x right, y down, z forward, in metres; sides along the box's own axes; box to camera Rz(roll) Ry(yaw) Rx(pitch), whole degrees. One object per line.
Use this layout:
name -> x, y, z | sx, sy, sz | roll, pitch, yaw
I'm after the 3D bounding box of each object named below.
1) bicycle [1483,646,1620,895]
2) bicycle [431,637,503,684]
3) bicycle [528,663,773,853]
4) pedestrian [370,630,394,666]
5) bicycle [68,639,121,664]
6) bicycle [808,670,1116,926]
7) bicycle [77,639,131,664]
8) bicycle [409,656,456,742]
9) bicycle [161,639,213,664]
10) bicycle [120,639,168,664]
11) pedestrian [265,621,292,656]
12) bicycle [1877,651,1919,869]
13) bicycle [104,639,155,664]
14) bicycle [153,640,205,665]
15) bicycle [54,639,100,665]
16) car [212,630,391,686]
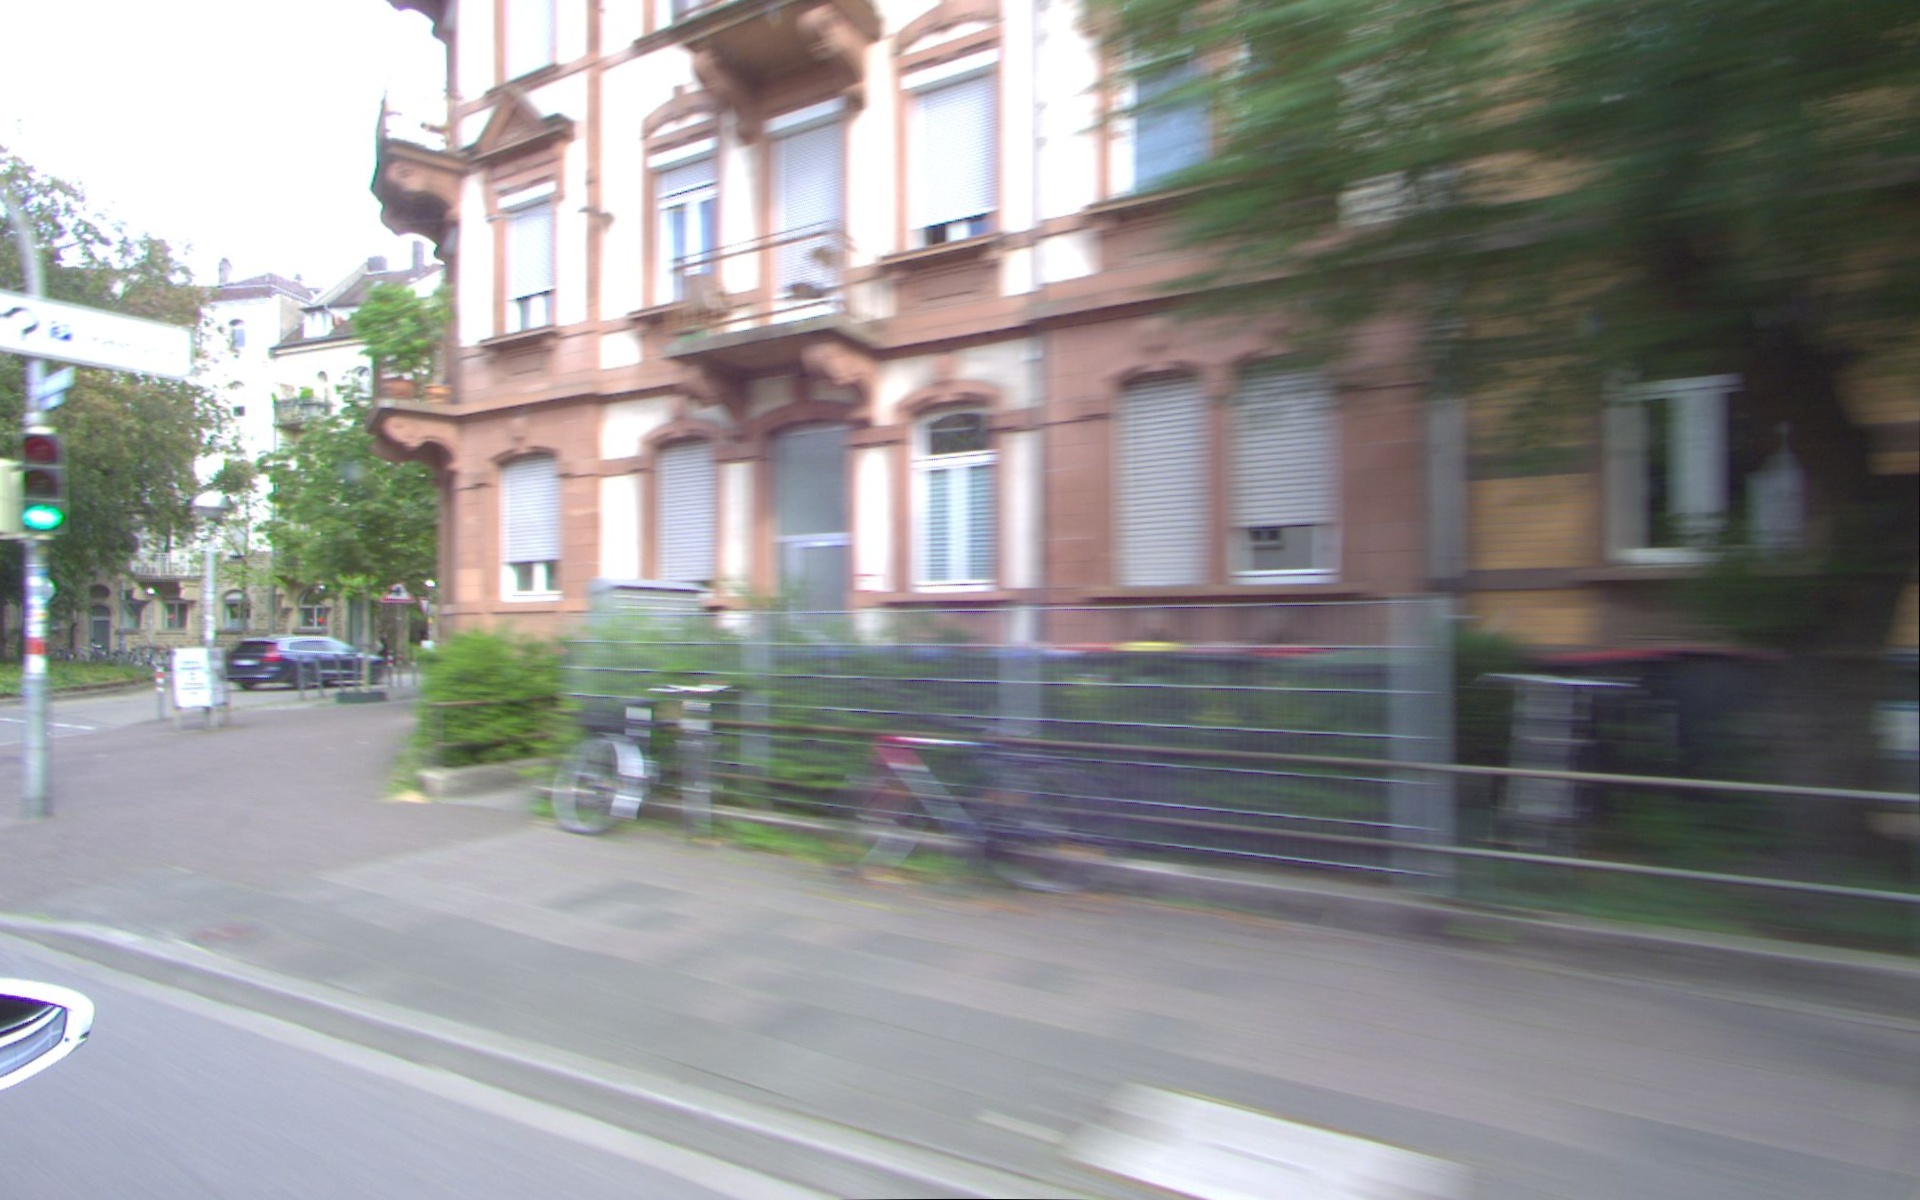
bicycle -> 2.920, 0.758, 5.038 | 0.502, 1.022, 1.544 | 0, -1, 27
bicycle -> -12.762, 1.555, 25.972 | 0.661, 1.158, 1.669 | 0, -1, 20
bicycle -> -2.139, 1.018, 6.881 | 1.647, 1.120, 0.670 | -1, -1, 30
pedestrian -> -26.770, 2.207, 46.385 | 0.826, 1.644, 0.726 | 1, -1, -41
bicycle -> -40.966, 2.407, 47.419 | 0.553, 1.142, 1.890 | 0, -2, 20
bicycle -> -0.012, 0.951, 5.189 | 1.526, 1.103, 0.507 | -1, 2, 30
bicycle -> -40.396, 2.401, 47.258 | 0.588, 1.142, 1.890 | 0, -2, 20
bicycle -> -6.738, 1.229, 12.796 | 0.502, 0.982, 1.543 | 0, -1, -28
bicycle -> -36.000, 2.401, 46.644 | 0.524, 1.142, 1.888 | 0, -2, 25
bicycle -> -38.398, 2.404, 47.160 | 0.583, 1.142, 1.894 | 0, -2, 7
pedestrian -> -32.833, 1.850, 48.261 | 0.821, 1.697, 0.731 | 0, -1, 22
bicycle -> 4.638, 0.755, 4.444 | 0.437, 1.022, 1.544 | 0, -1, 27
bicycle -> -39.195, 2.404, 47.264 | 0.571, 1.142, 1.893 | 0, -2, 12
bicycle -> -36.541, 2.433, 46.856 | 0.524, 1.142, 1.888 | 0, -2, 25
bicycle -> -41.775, 2.443, 47.404 | 0.522, 1.143, 1.894 | 0, 0, -1
car -> -18.541, 1.591, 28.487 | 1.724, 1.459, 4.480 | 0, -2, 8
